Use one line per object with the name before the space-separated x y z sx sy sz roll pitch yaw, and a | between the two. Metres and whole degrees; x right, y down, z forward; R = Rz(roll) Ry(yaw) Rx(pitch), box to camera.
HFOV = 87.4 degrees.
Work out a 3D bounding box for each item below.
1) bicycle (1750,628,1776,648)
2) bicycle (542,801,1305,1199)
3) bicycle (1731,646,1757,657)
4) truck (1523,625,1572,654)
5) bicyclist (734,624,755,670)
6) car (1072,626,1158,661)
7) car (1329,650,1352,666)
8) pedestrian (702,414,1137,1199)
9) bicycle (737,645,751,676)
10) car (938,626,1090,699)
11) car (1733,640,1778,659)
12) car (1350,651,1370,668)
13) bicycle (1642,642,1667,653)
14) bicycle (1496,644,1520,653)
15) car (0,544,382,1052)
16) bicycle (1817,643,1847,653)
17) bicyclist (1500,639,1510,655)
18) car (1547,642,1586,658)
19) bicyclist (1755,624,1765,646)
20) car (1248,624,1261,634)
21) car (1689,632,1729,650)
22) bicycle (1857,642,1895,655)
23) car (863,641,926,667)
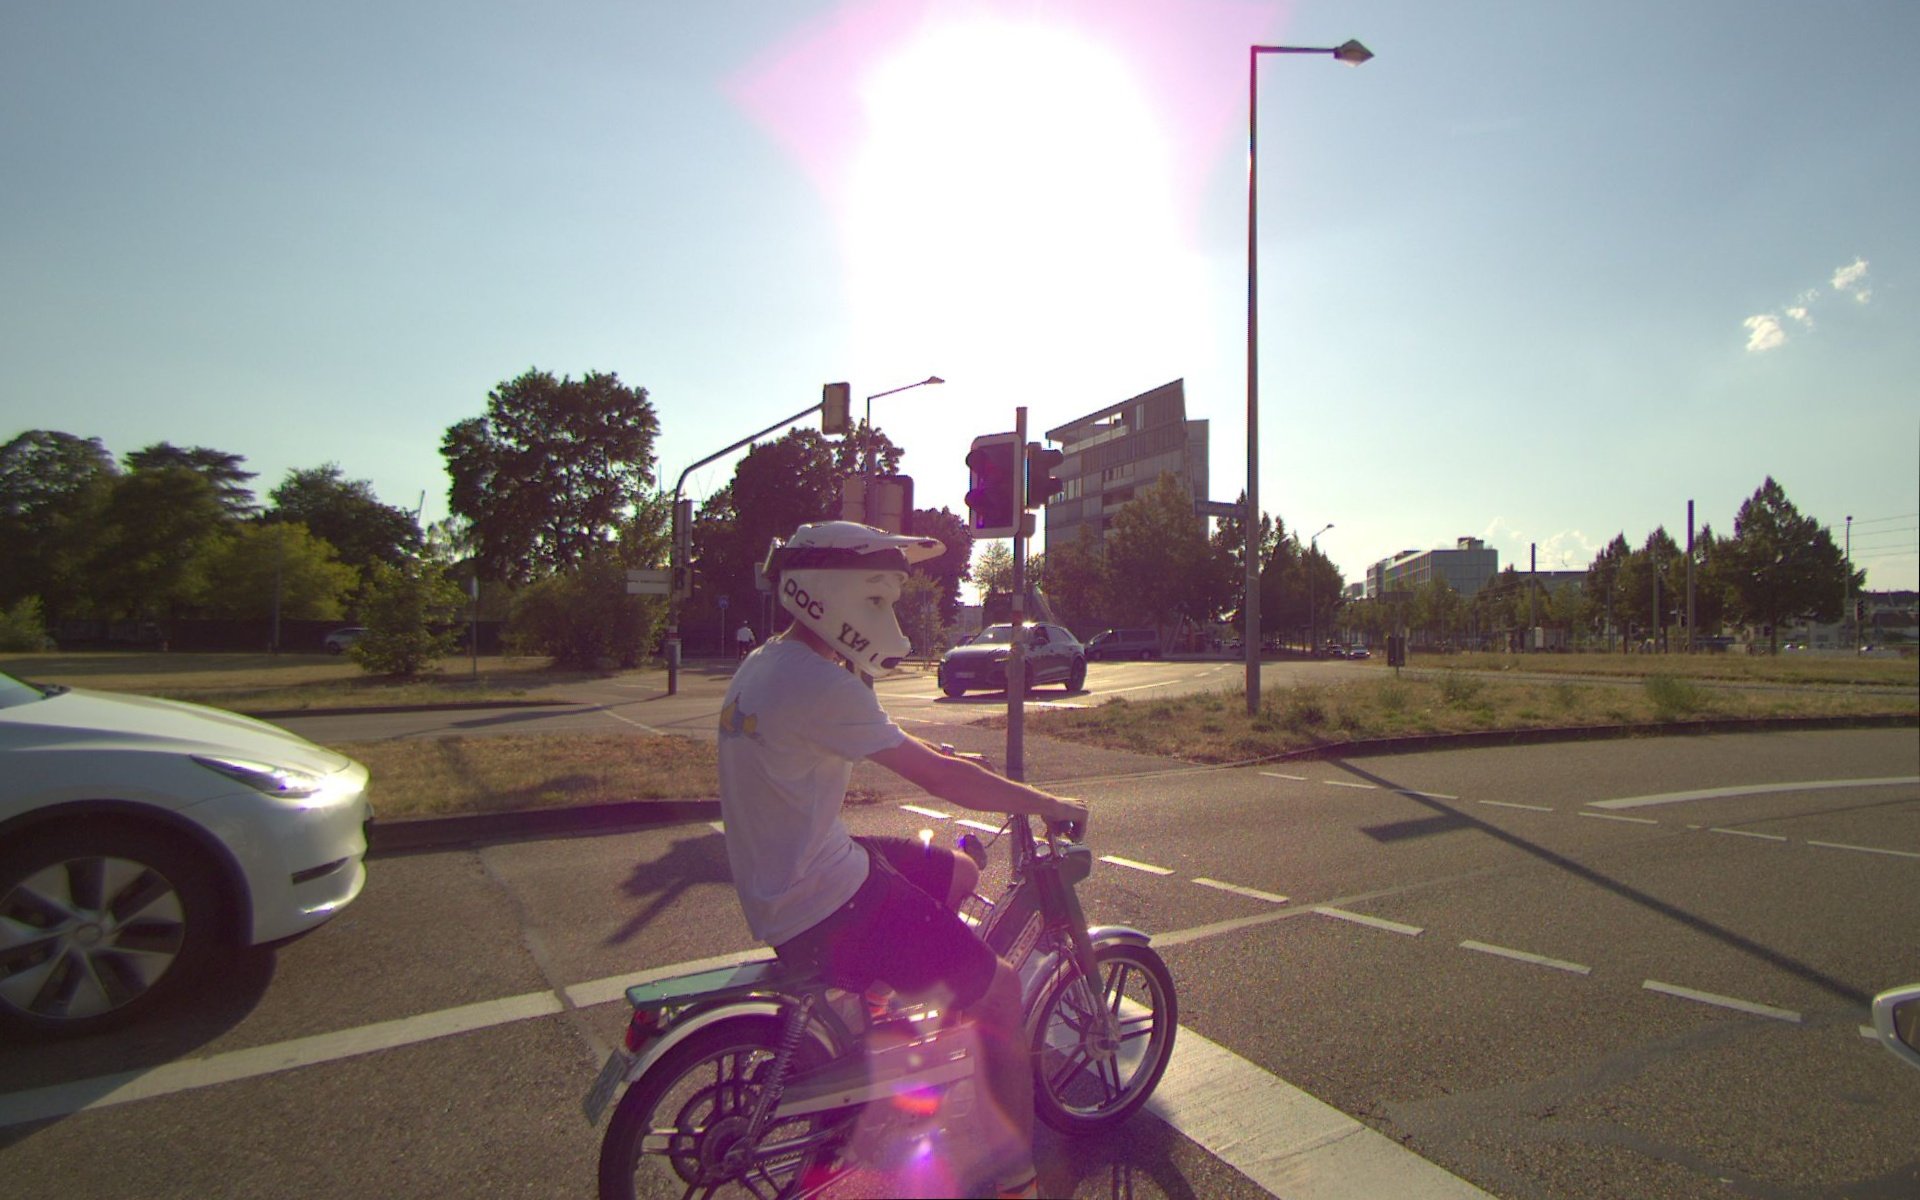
bicycle | 62.445 2.957 78.135 1.518 1.493 0.478 -1 -2 35
bicycle | 0.011 1.039 2.416 1.834 0.887 0.475 1 -2 -31
bicycle | 62.032 4.090 79.485 1.592 0.871 0.543 -1 -2 35
truck | 69.026 4.584 118.220 3.074 3.273 7.178 0 -2 14
bicyclist | -7.442 1.625 34.677 0.629 1.576 0.629 0 -1 -7
car | 9.282 2.623 60.168 4.737 2.040 1.995 1 -2 -13
car | 40.366 6.145 106.541 1.960 1.495 4.002 0 -2 17
pedestrian | -0.109 0.425 2.428 0.844 1.539 0.653 1 -2 -30
bicycle | -7.446 2.068 34.655 0.360 1.046 1.438 0 -2 -7
car | 1.395 1.409 23.569 1.624 1.532 4.635 -2 -3 30
car | 87.734 5.454 110.781 1.960 2.040 4.002 0 -2 5
car | 36.621 5.425 91.957 1.455 1.495 3.301 0 -2 17
bicycle | 54.991 3.783 79.546 1.592 0.871 0.543 -1 -2 35
bicycle | 45.818 4.053 84.034 1.687 0.754 0.481 0 -2 17
car | -4.576 0.601 3.181 4.630 1.620 1.724 2 -1 -35
bicycle | 66.093 3.648 76.154 1.693 0.754 0.479 -1 -2 35
bicyclist | 45.618 3.918 84.125 0.641 1.343 0.519 0 -1 16
car | 49.919 4.084 82.725 2.625 1.278 1.113 -1 -2 27
bicyclist | 62.323 2.746 78.233 0.598 1.694 0.476 0 -2 35
car | 47.018 4.592 160.151 1.753 1.576 4.002 2 0 14
car | 88.814 4.862 119.185 1.960 2.040 4.002 0 -2 5
bicycle | 66.514 3.502 72.961 0.426 0.930 1.975 1 -2 -34
car | -3.771 3.103 58.315 3.555 1.457 1.583 0 -2 1
